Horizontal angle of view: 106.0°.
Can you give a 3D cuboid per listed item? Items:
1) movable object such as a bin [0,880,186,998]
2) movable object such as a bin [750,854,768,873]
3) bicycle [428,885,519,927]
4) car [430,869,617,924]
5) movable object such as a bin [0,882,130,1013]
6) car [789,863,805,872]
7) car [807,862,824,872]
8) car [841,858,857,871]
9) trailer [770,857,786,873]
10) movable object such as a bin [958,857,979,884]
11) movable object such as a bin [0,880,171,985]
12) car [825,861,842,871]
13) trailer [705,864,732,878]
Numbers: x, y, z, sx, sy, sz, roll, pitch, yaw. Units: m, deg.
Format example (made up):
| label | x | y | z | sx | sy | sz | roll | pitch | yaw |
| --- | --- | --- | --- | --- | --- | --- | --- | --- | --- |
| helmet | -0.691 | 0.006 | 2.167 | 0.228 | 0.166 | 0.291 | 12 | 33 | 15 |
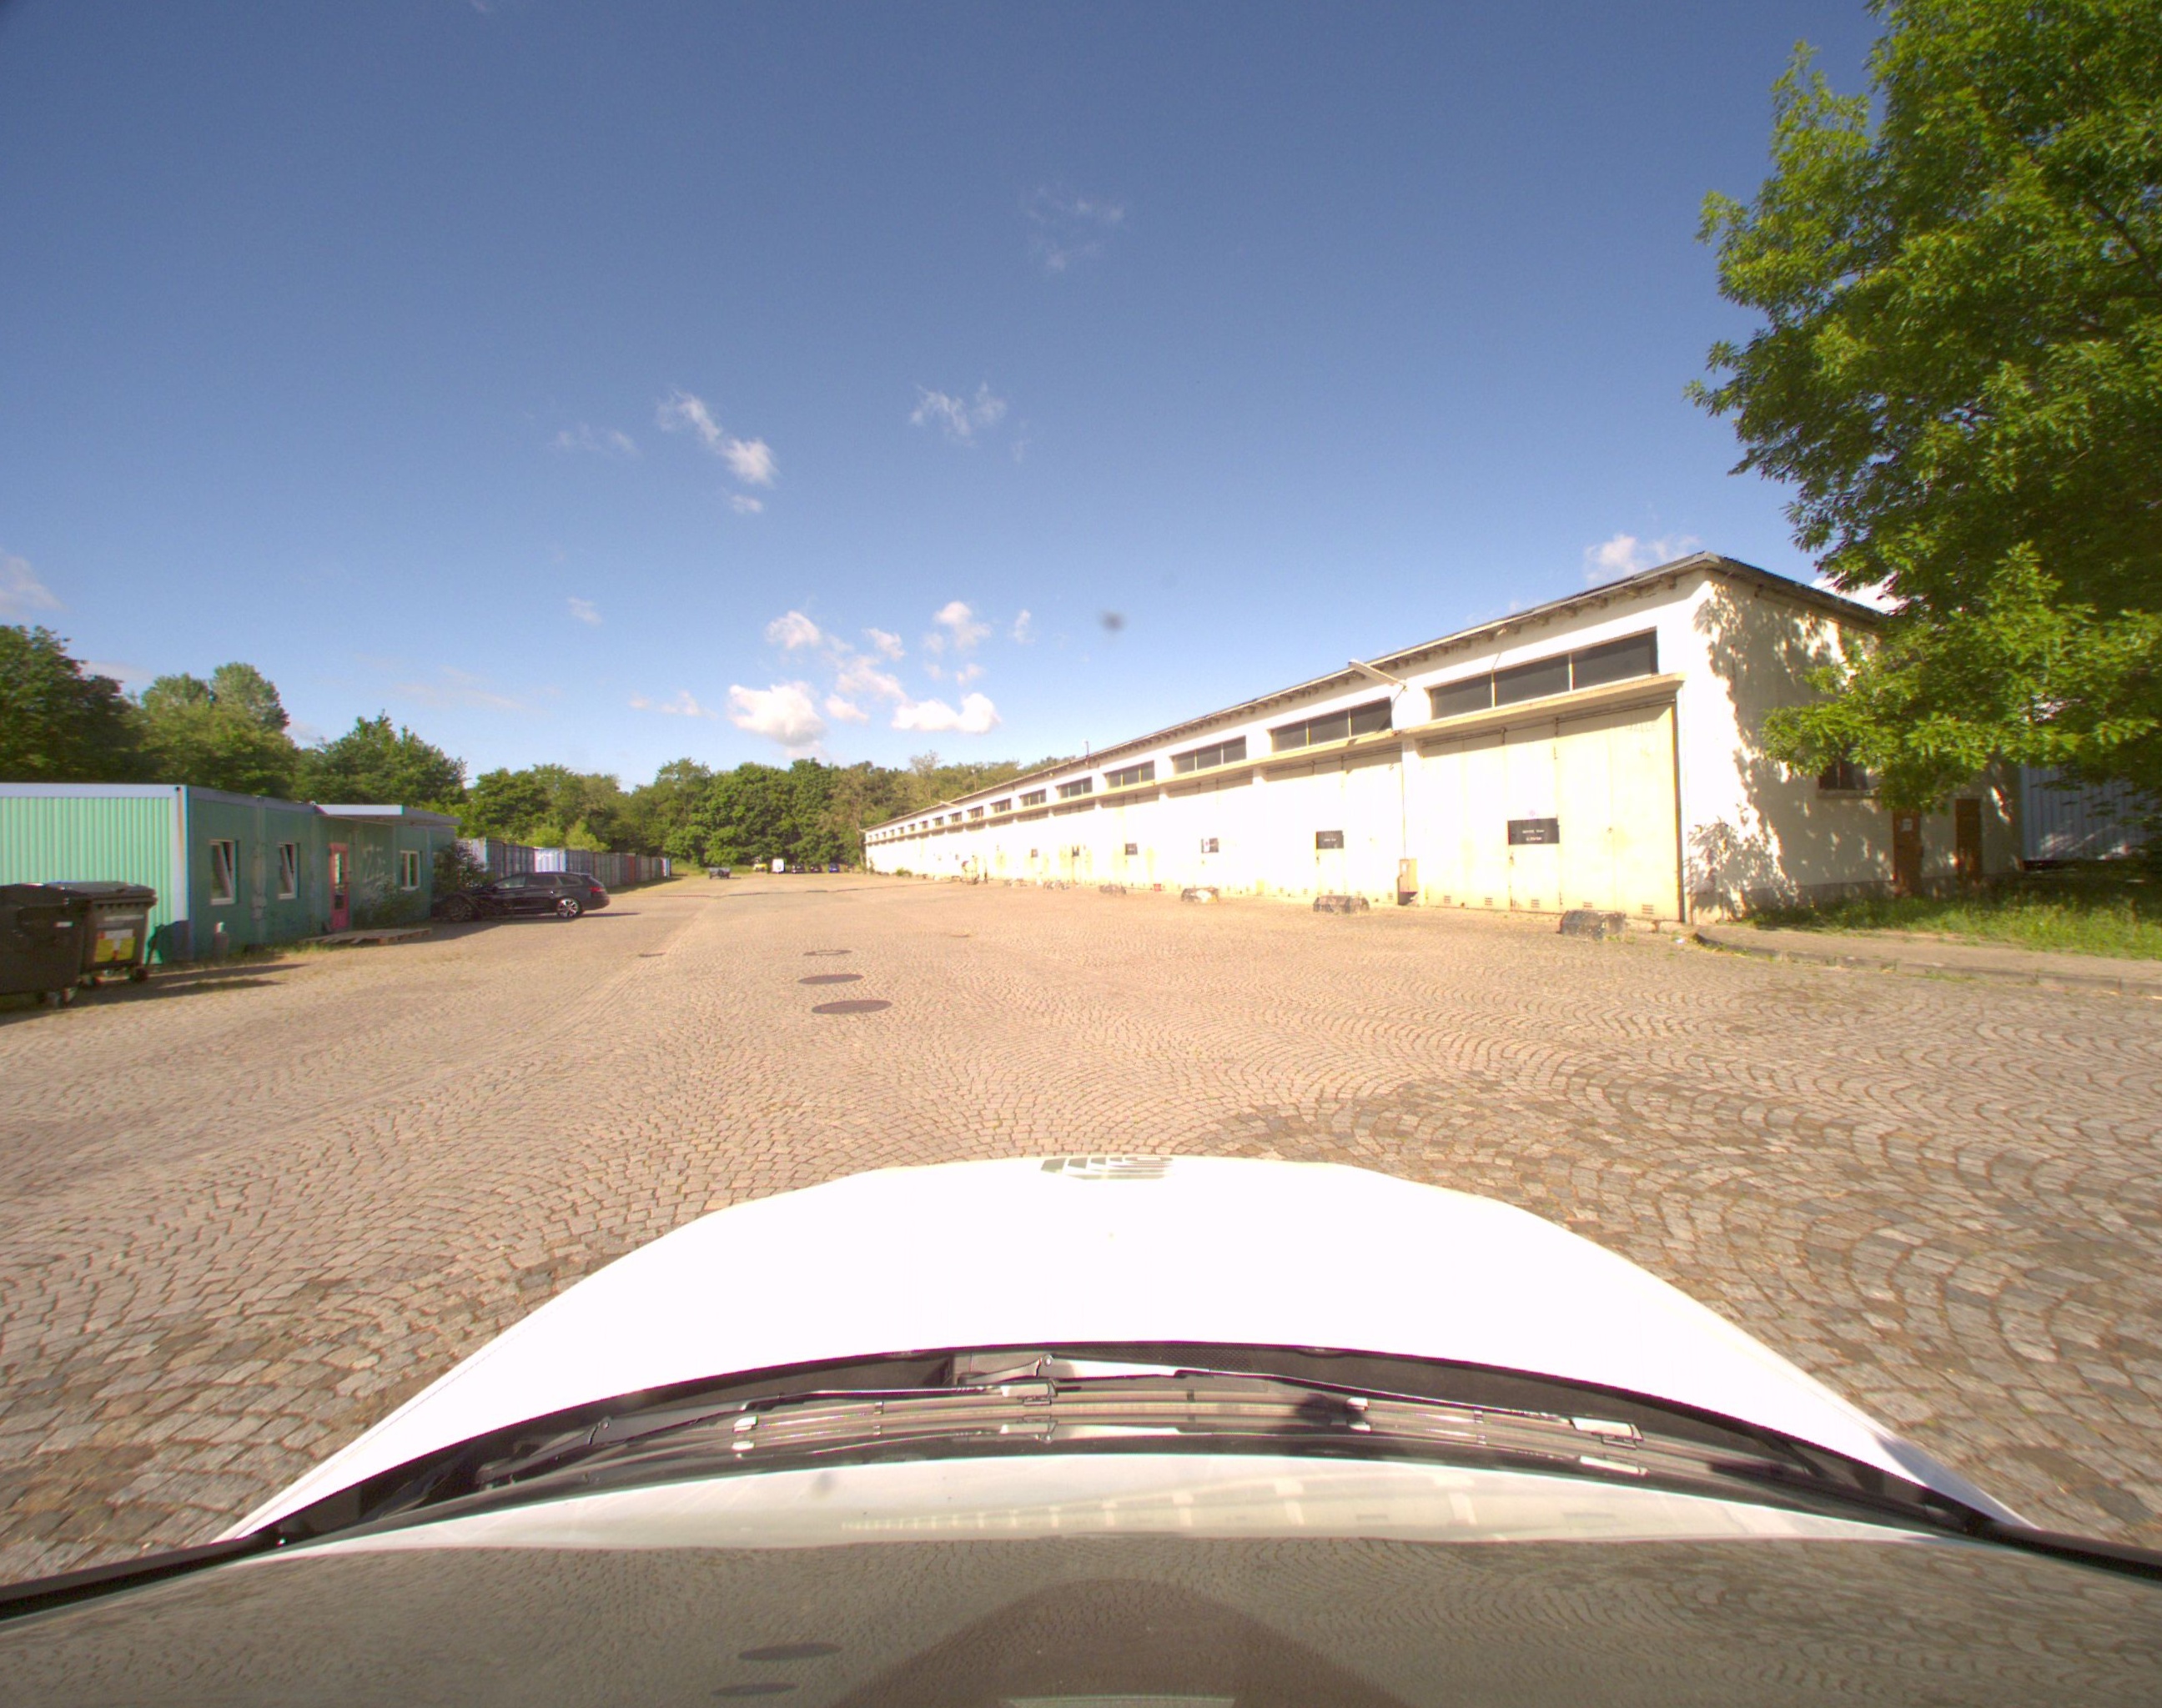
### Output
| label | x | y | z | sx | sy | sz | roll | pitch | yaw |
| --- | --- | --- | --- | --- | --- | --- | --- | --- | --- |
| movable object such as a bin | -13.605 | 1.102 | 11.105 | 1.301 | 1.422 | 1.525 | -2 | 0 | -21 |
| movable object such as a bin | -47.147 | 1.318 | 119.323 | 2.243 | 2.657 | 3.968 | -2 | 0 | -24 |
| bicycle | -17.201 | 1.452 | 23.123 | 1.884 | 1.027 | 1.030 | -2 | 0 | -25 |
| car | -16.913 | 1.232 | 25.020 | 4.437 | 1.464 | 1.983 | -1 | 0 | -26 |
| movable object such as a bin | -12.303 | 1.051 | 9.345 | 1.517 | 1.386 | 1.394 | -2 | 0 | 24 |
| car | -41.625 | 1.996 | 119.461 | 2.002 | 1.258 | 3.970 | -2 | 0 | -22 |
| car | -39.419 | 1.895 | 120.777 | 2.002 | 1.424 | 3.970 | -2 | 0 | -22 |
| car | -35.285 | 1.594 | 123.820 | 2.002 | 1.772 | 3.970 | -2 | 0 | -22 |
| trailer | -44.571 | 1.618 | 119.572 | 2.002 | 2.162 | 4.398 | -2 | 0 | -22 |
| movable object such as a bin | -6.181 | 0.903 | 44.782 | 0.879 | 1.401 | 1.093 | -2 | 0 | -23 |
| movable object such as a bin | -15.039 | 1.124 | 12.276 | 1.392 | 1.386 | 1.519 | -2 | 0 | -34 |
| car | -37.013 | 1.774 | 121.764 | 2.002 | 1.466 | 3.970 | -2 | 0 | -22 |
| trailer | -44.347 | 2.073 | 99.721 | 2.803 | 1.646 | 5.577 | -2 | 0 | -23 |
